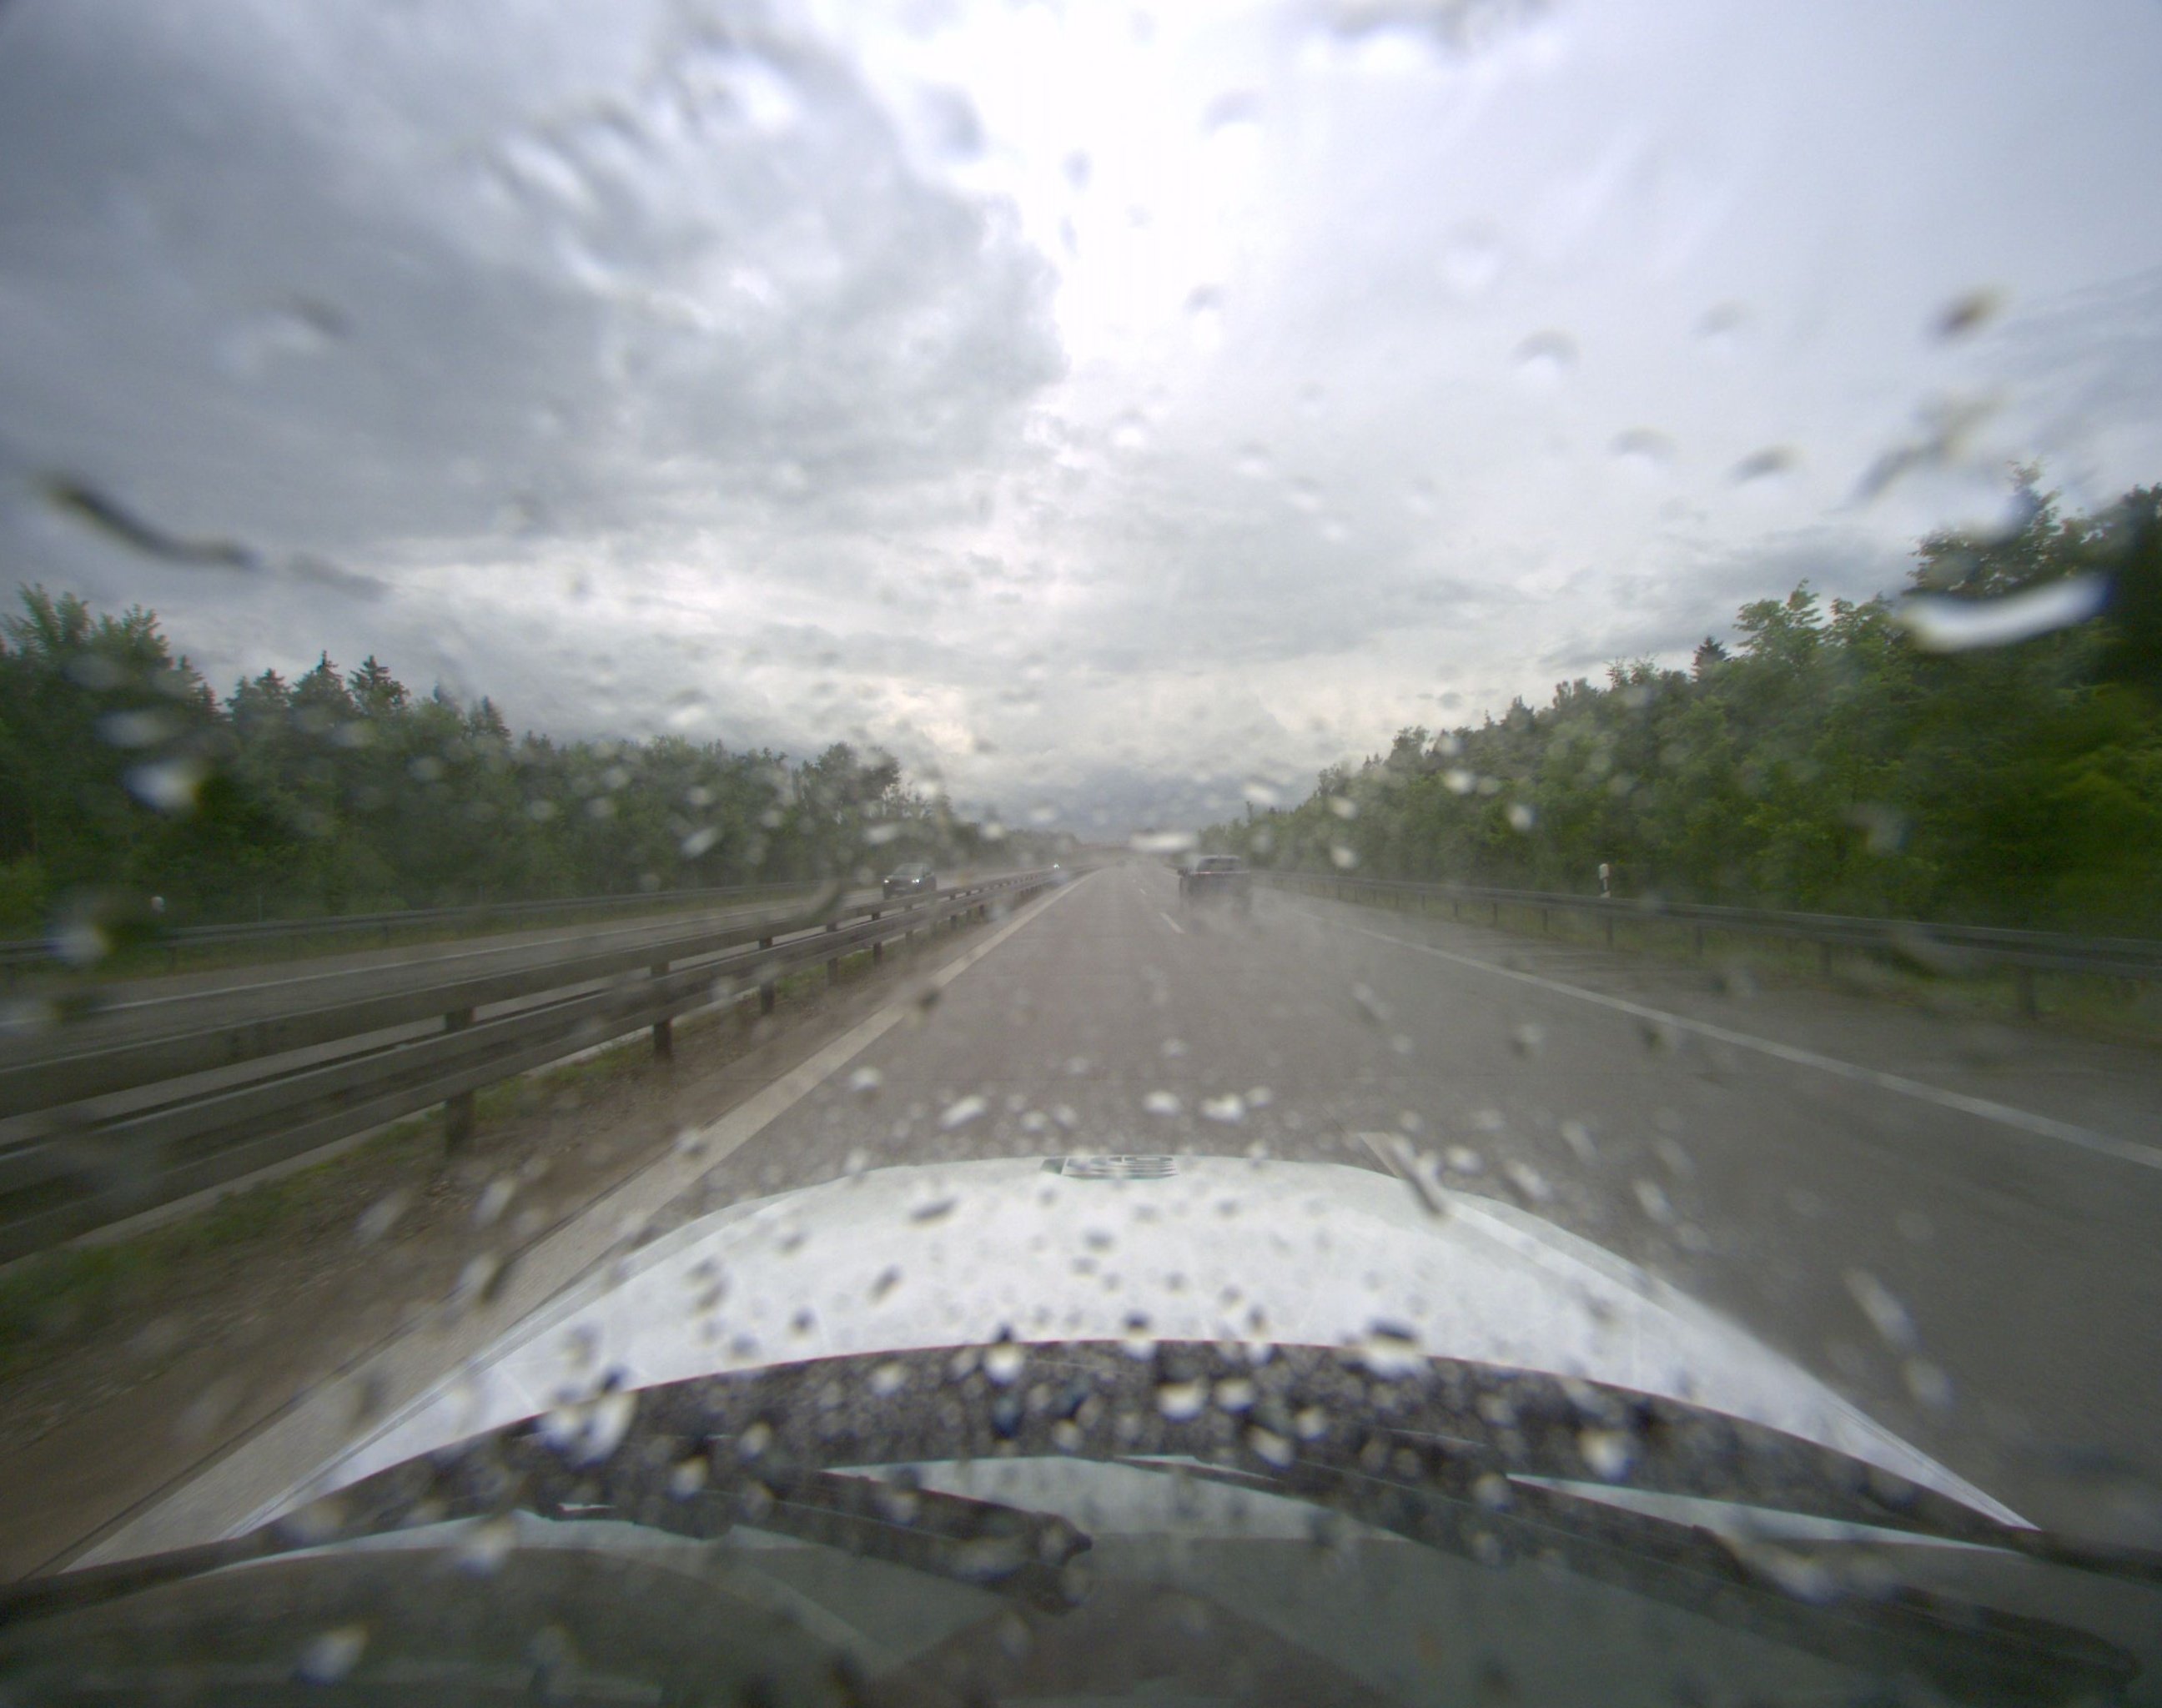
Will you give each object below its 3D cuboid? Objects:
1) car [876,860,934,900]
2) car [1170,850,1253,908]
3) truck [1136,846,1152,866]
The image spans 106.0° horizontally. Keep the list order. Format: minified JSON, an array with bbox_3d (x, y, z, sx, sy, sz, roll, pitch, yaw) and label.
[{"bbox_3d":[-8.203,1.152,38.311,1.788,1.619,4.000,-3,0,0],"label":"car"},{"bbox_3d":[3.786,0.714,24.206,1.888,1.576,3.631,-1,-1,0],"label":"car"},{"bbox_3d":[14.000,0.487,180.838,3.229,4.437,8.255,-1,-1,4],"label":"truck"}]
